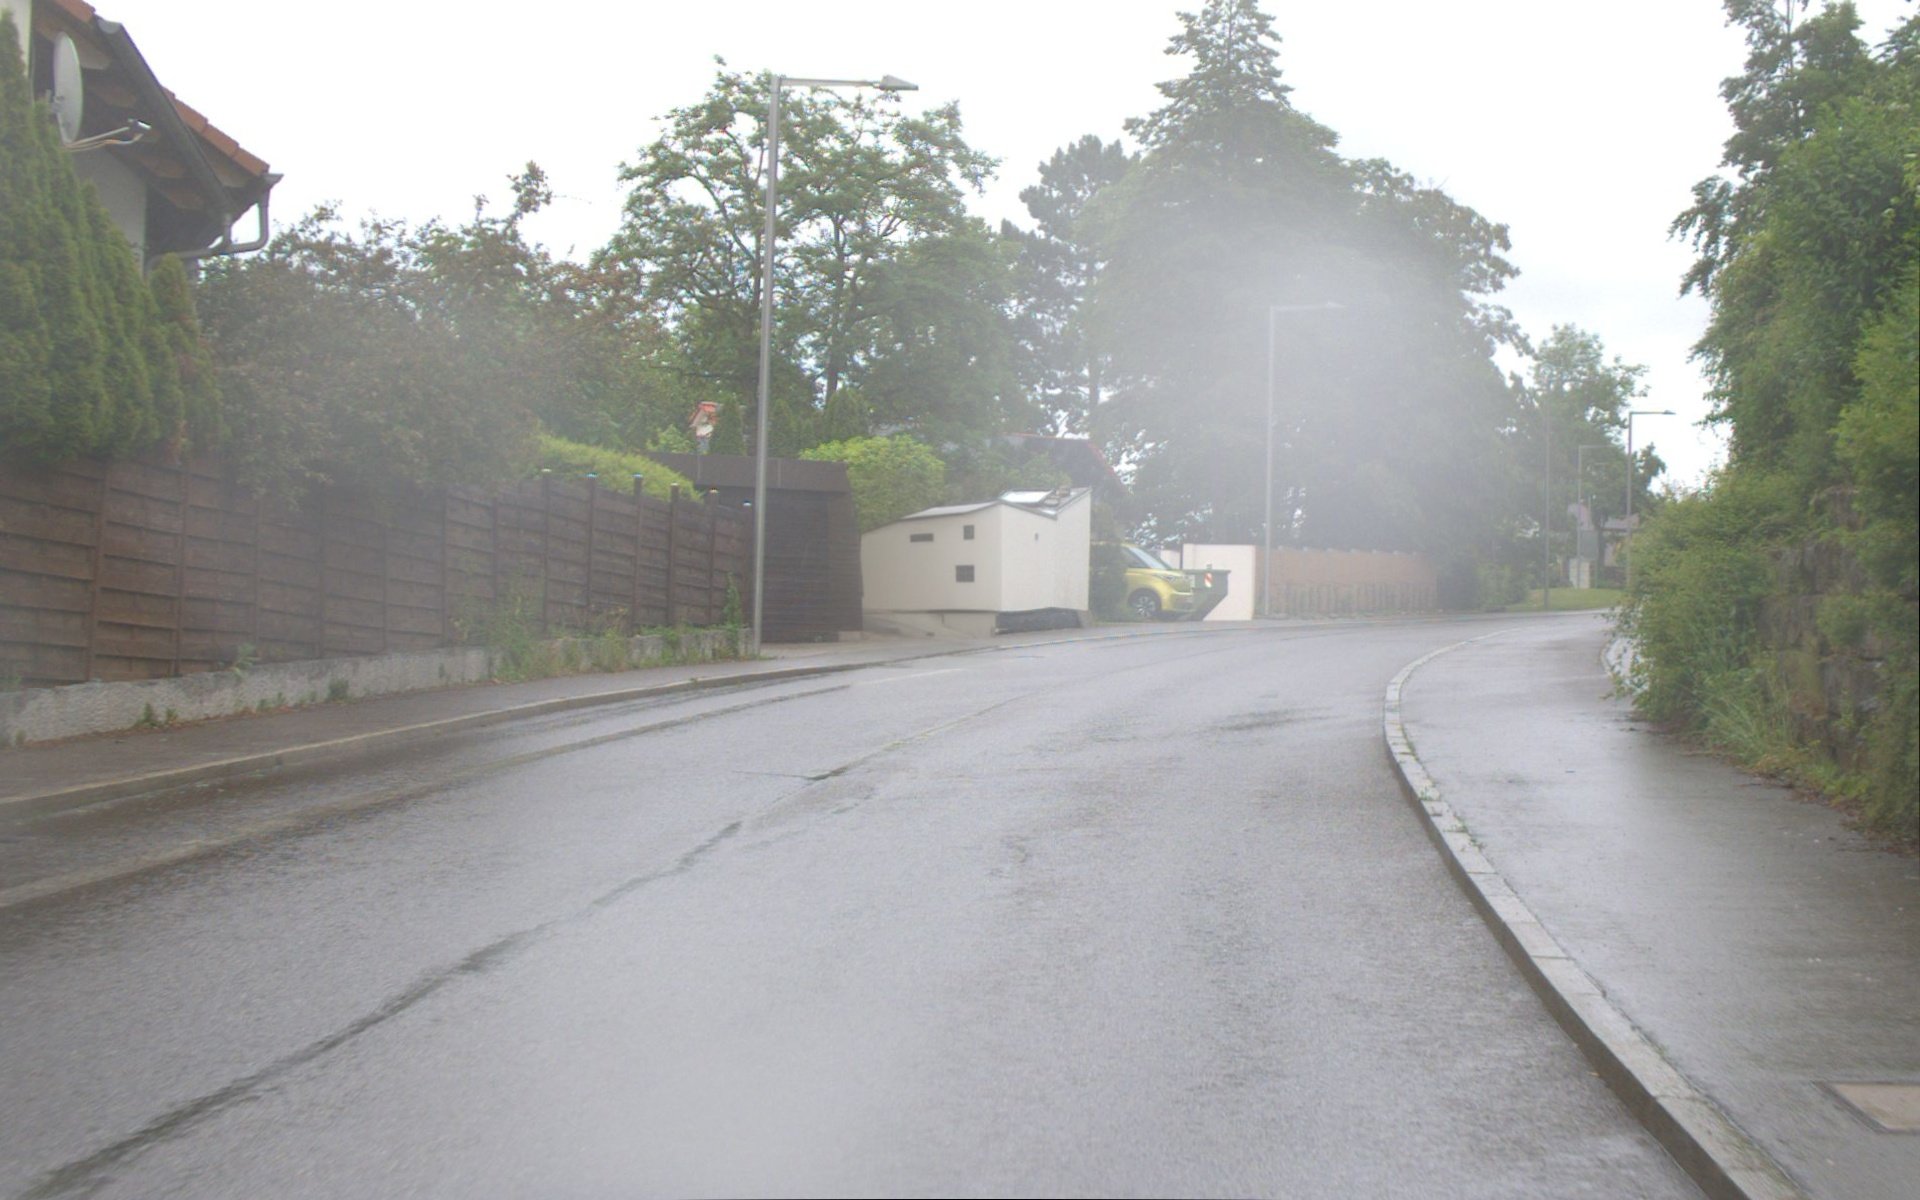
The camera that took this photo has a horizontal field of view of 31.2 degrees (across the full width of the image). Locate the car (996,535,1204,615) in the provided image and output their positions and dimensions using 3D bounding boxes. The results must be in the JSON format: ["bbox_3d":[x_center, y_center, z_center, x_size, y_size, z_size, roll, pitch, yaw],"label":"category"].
[{"bbox_3d":[3.321,-0.588,81.397,4.507,1.853,2.087,0,0,21],"label":"car"}]
